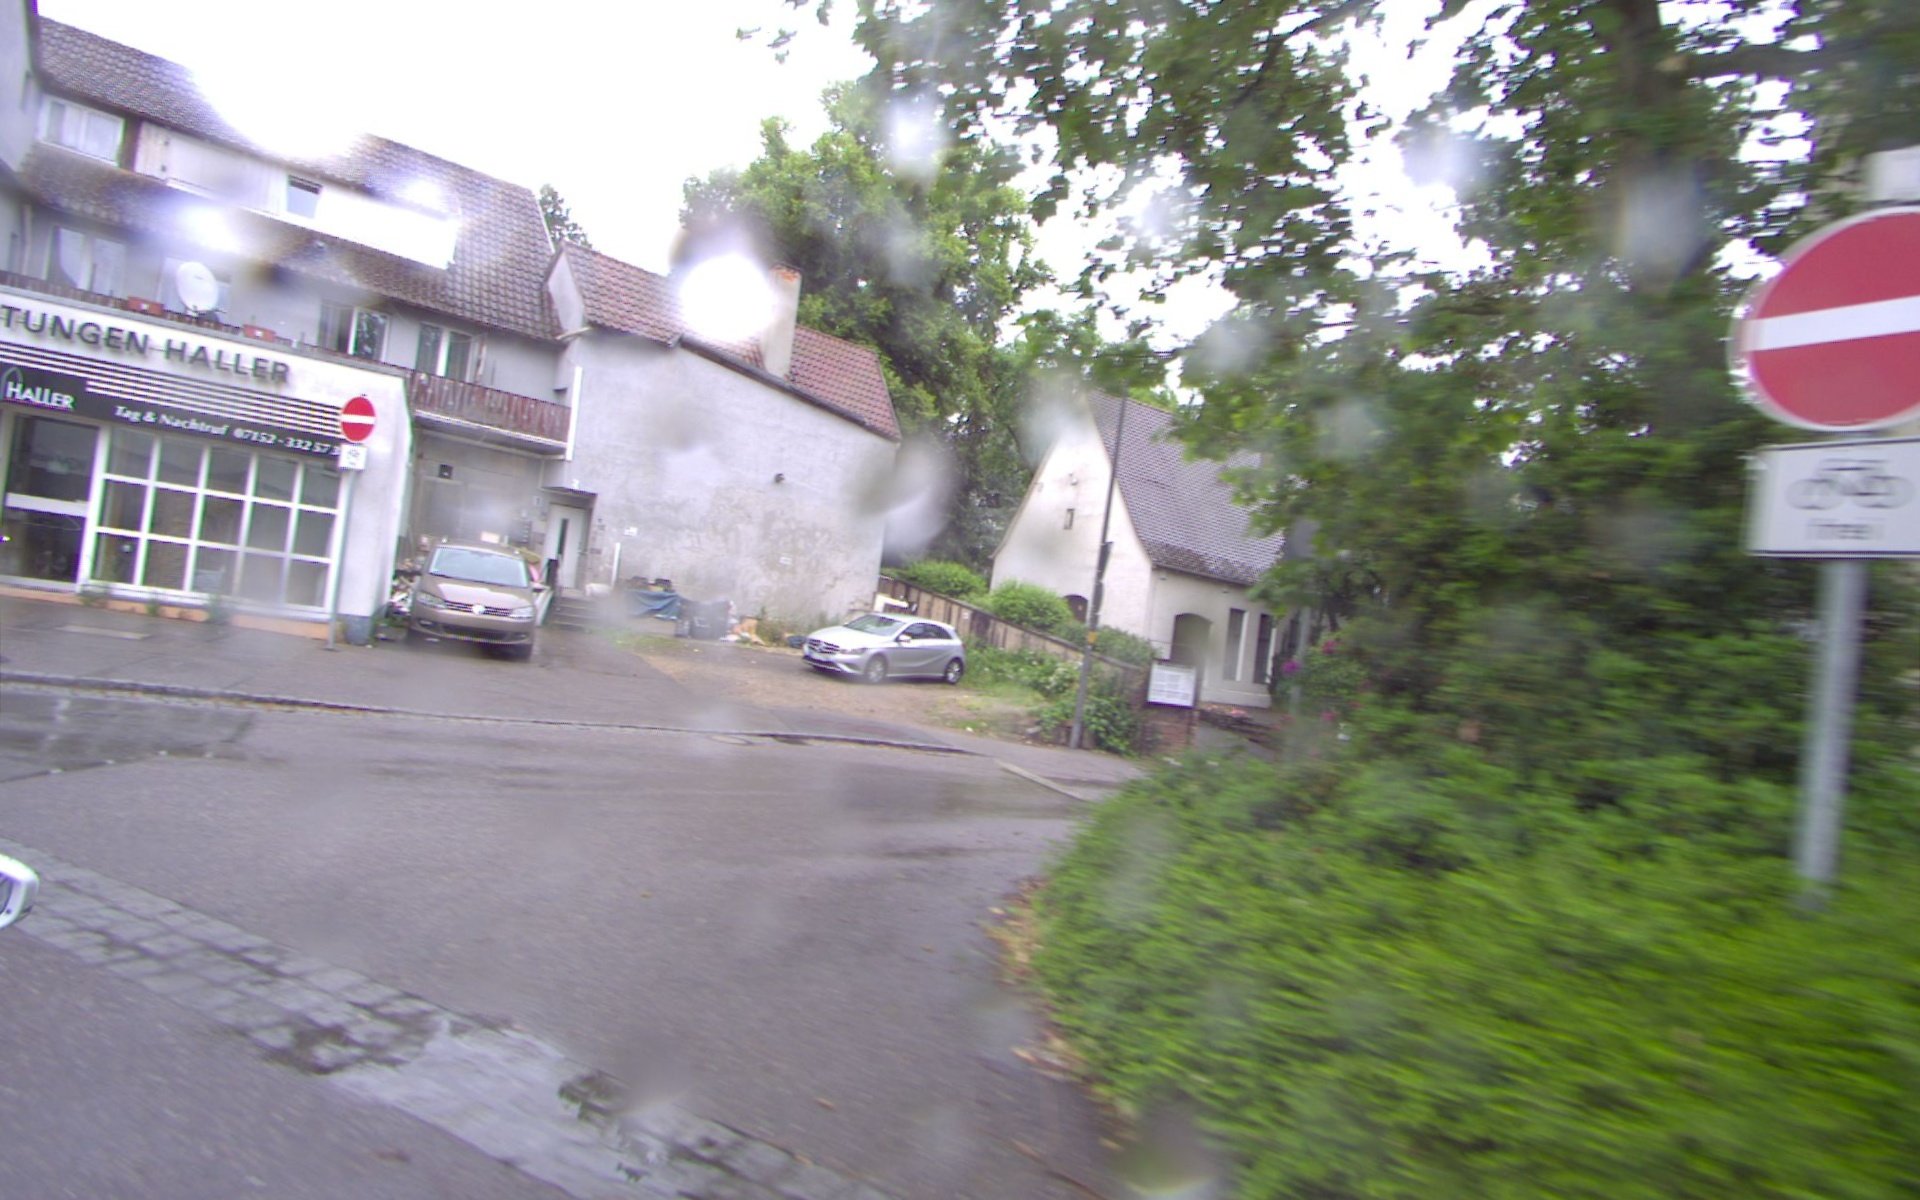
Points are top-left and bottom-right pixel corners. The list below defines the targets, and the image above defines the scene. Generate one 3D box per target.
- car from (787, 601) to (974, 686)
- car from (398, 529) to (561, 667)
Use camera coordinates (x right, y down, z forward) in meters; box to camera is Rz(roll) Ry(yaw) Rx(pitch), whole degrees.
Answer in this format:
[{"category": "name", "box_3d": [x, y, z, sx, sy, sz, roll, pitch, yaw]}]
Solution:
[{"category": "car", "box_3d": [-1.655, 1.004, 22.104, 1.715, 1.405, 4.025, 11, 2, 37]}, {"category": "car", "box_3d": [-8.227, -0.138, 16.967, 1.910, 1.748, 4.629, 9, 0, -31]}]
